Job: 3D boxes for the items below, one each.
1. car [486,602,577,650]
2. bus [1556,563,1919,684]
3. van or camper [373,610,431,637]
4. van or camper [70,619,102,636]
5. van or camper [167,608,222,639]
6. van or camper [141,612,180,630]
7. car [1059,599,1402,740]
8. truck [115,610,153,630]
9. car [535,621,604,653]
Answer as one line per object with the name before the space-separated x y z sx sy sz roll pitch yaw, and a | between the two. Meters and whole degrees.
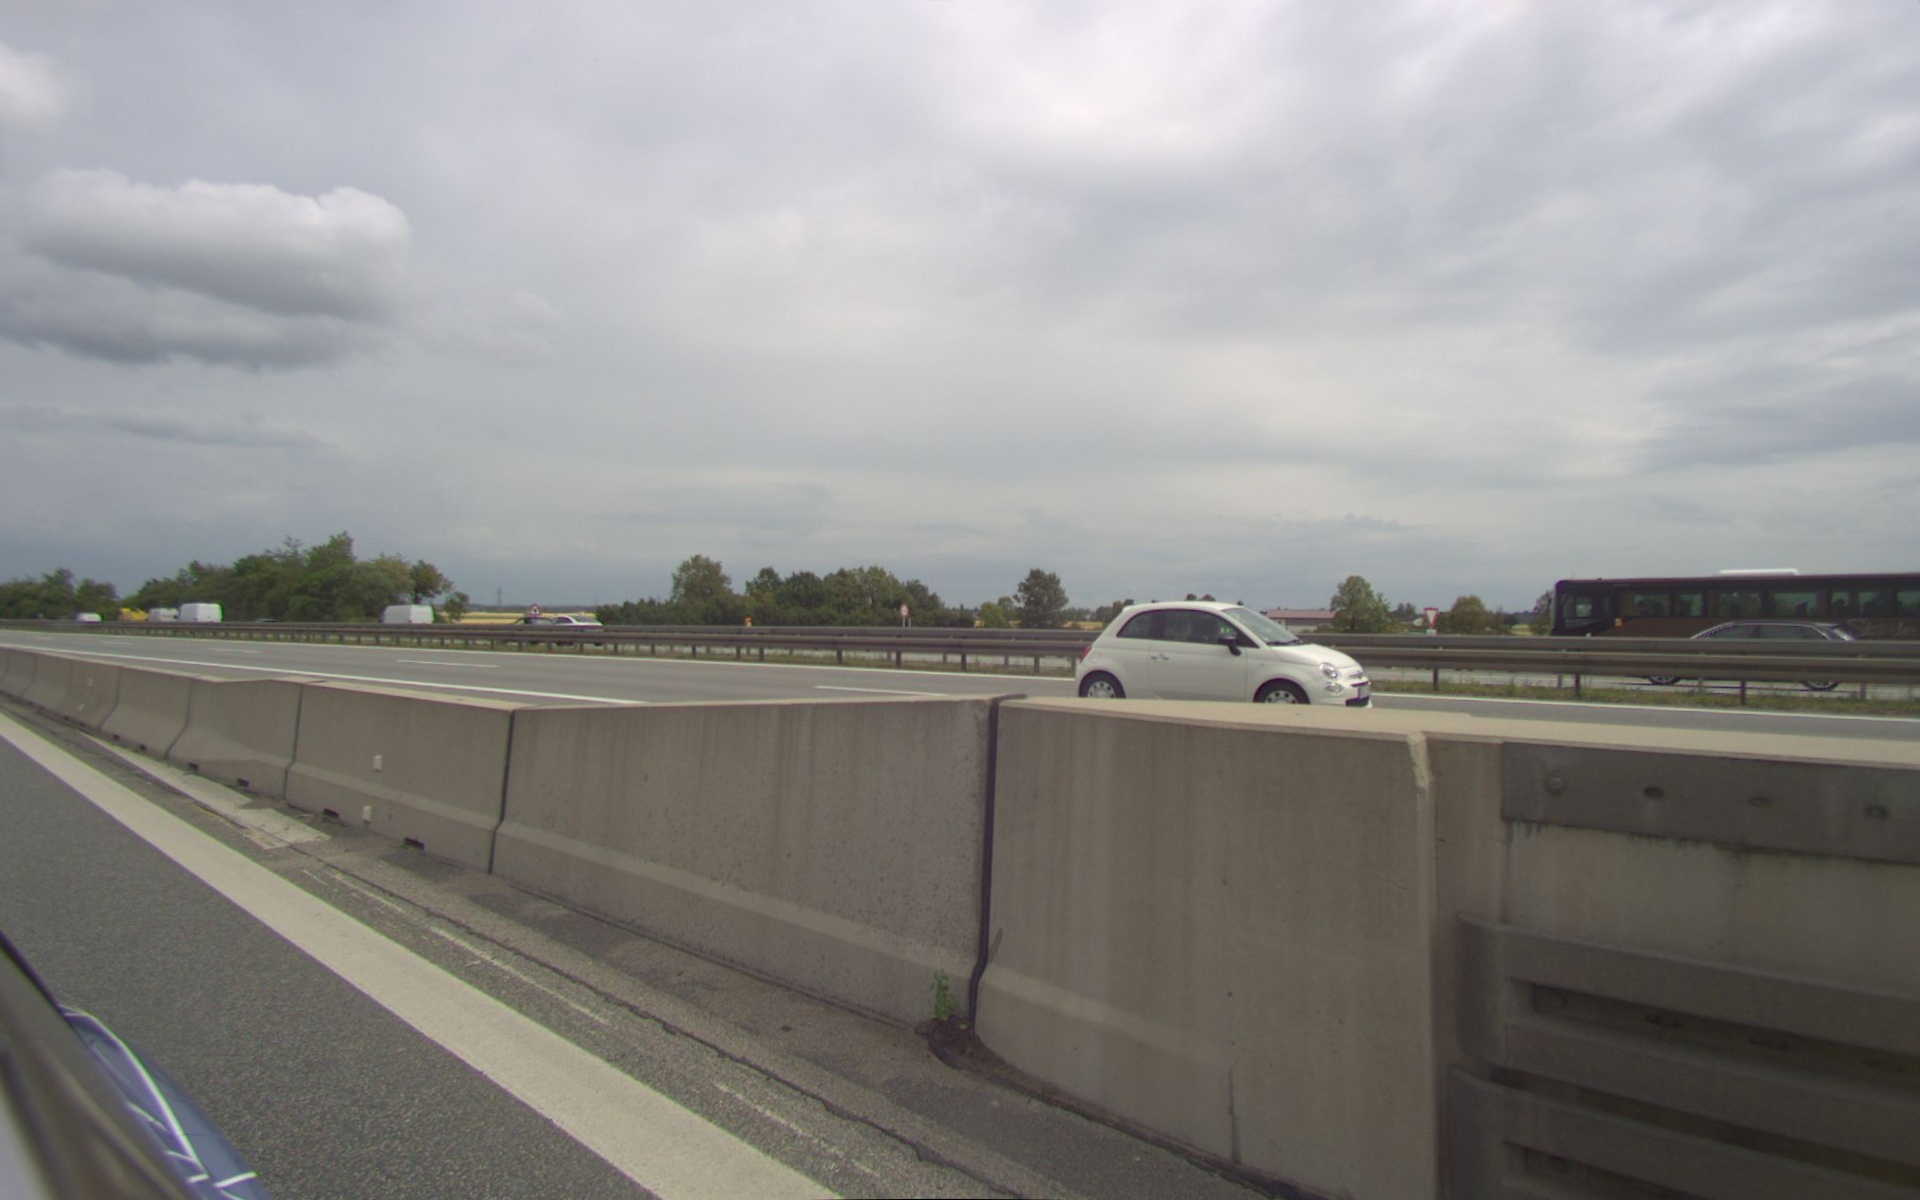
car | -18.756 1.115 44.254 3.993 2.029 1.975 -1 0 37
bus | 26.408 0.685 31.808 12.971 3.468 3.184 -1 0 37
van or camper | -46.785 1.924 84.852 5.800 2.188 2.166 -1 -1 38
van or camper | -98.075 3.078 113.554 4.343 1.842 1.974 -1 -1 39
van or camper | -67.310 2.075 88.930 6.895 2.639 2.166 -1 -1 38
van or camper | -97.447 2.557 123.368 6.266 2.029 2.215 -1 -1 37
car | 3.272 0.764 12.498 3.766 1.496 1.666 -1 -1 35
truck | -119.346 2.885 146.140 8.778 2.795 2.876 -1 -1 42
car | -19.376 1.818 50.147 3.997 1.475 1.507 -1 0 41
